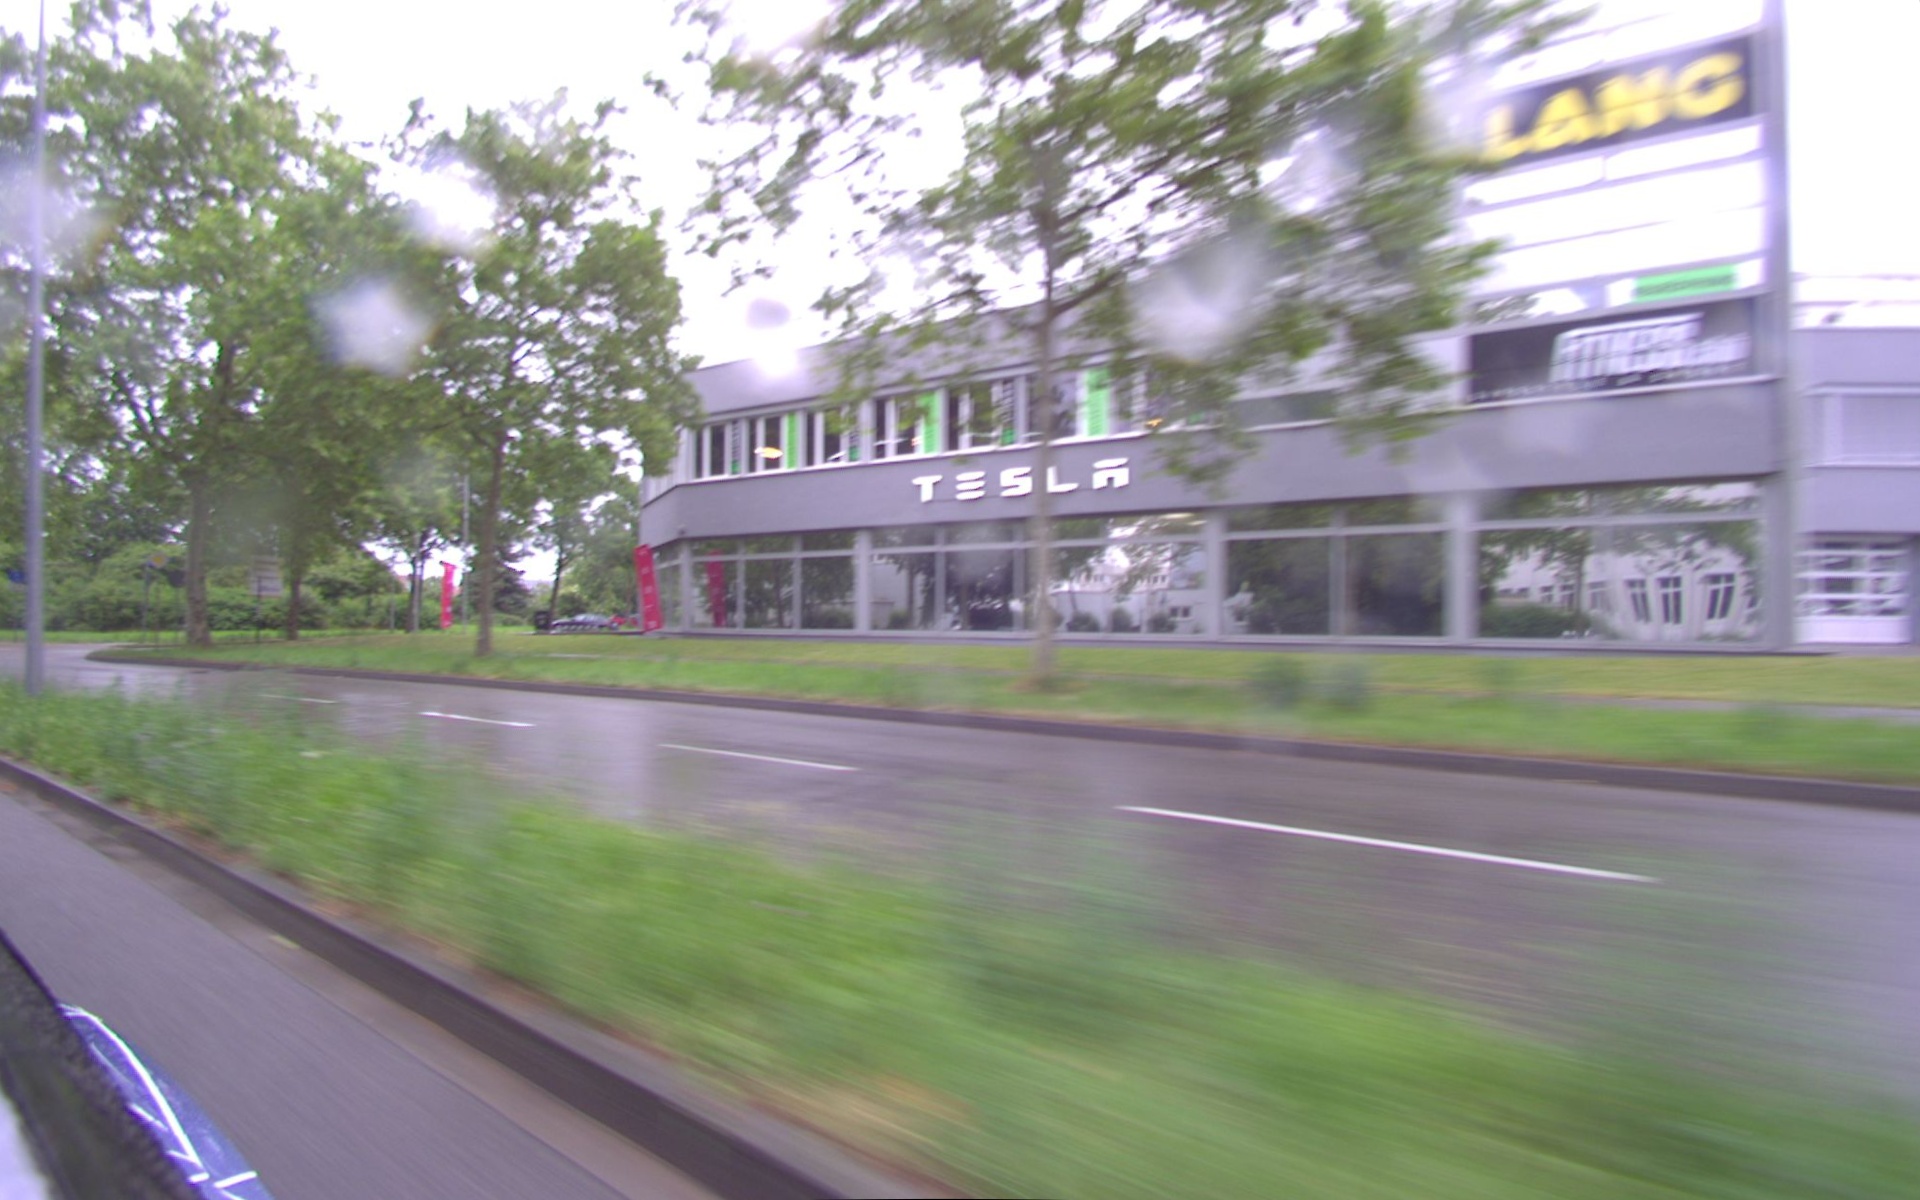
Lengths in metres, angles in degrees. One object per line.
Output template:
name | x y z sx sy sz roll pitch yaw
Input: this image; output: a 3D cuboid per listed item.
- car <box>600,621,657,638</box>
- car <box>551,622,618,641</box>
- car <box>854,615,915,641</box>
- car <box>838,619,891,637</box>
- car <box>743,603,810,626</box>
car | -26.754 2.372 81.758 4.154 1.368 1.595 0 -1 7
car | -26.759 2.237 72.116 4.241 1.368 1.595 0 -1 7
car | -5.554 2.048 74.437 4.133 1.827 1.824 1 -1 -29
car | -7.797 2.308 83.125 4.151 1.506 1.596 0 -1 5
car | -15.064 1.176 83.382 5.166 1.878 1.791 0 -1 6
